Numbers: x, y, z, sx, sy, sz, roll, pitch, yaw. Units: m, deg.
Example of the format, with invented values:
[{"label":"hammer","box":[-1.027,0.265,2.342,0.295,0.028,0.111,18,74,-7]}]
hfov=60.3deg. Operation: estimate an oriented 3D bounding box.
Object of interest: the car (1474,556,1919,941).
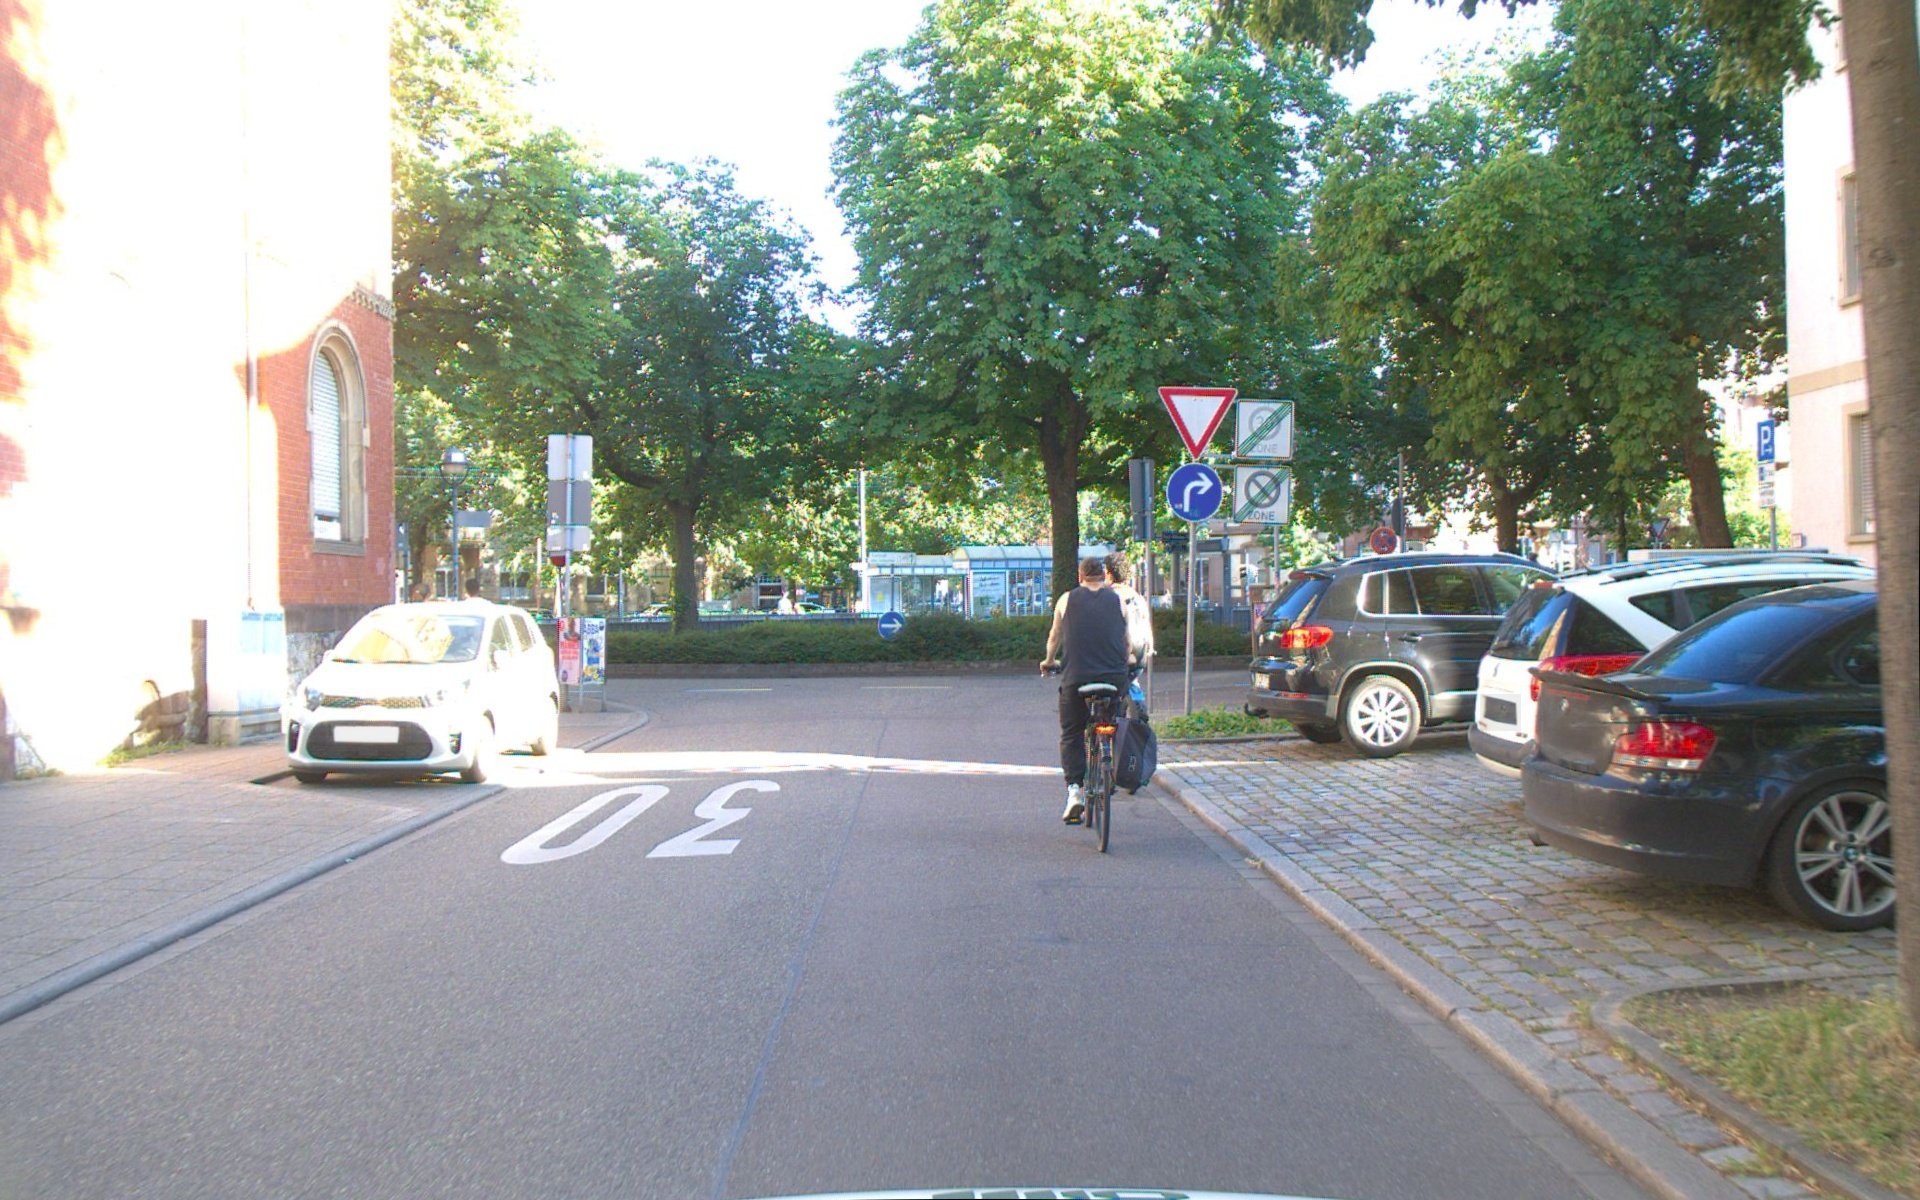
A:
[{"label":"car","box":[4.669,0.511,7.542,4.022,1.436,1.792,-4,0,-1]}]

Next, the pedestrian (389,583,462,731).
[{"label":"pedestrian","box":[-6.090,0.636,18.877,0.588,1.633,0.854,-1,0,-5]}]

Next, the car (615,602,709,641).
[{"label":"car","box":[-13.720,0.988,76.291,1.922,1.709,3.920,-1,0,45]}]

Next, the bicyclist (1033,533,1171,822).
[{"label":"bicyclist","box":[0.868,0.462,10.329,0.737,1.711,0.913,-1,0,-1]}]

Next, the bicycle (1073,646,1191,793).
[{"label":"bicycle","box":[1.340,0.910,13.252,0.660,1.072,2.060,-1,-1,-2]}]

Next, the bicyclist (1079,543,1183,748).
[{"label":"bicyclist","box":[1.335,0.354,13.072,0.658,1.541,1.068,-1,-1,-2]}]

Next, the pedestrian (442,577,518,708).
[{"label":"pedestrian","box":[-6.311,0.544,21.777,0.851,1.672,0.858,-1,0,-11]}]

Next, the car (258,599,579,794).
[{"label":"car","box":[-4.709,0.762,14.946,1.670,1.511,3.796,1,0,-1]}]

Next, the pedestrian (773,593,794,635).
[{"label":"pedestrian","box":[-7.333,0.575,68.856,0.692,1.724,0.666,1,0,-23]}]

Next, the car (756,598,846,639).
[{"label":"car","box":[-7.738,0.897,80.572,3.939,1.903,1.983,-1,0,-27]}]

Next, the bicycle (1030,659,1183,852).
[{"label":"bicycle","box":[0.875,0.919,10.404,0.723,1.030,2.060,1,-1,-1]}]

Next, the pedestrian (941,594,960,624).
[{"label":"pedestrian","box":[-0.546,0.513,93.930,0.980,1.659,1.064,-1,0,-2]}]

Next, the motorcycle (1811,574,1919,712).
[{"label":"motorcycle","box":[9.502,0.399,16.190,0.957,1.302,2.177,-1,0,-9]}]

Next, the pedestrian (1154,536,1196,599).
[{"label":"pedestrian","box":[6.020,-0.904,46.369,0.880,1.713,0.817,-1,0,33]}]

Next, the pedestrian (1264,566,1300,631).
[{"label":"pedestrian","box":[8.688,-0.044,44.678,0.896,1.713,0.781,-1,0,9]}]

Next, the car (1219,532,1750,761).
[{"label":"car","box":[4.565,0.361,14.792,4.027,1.742,2.022,-2,1,-6]}]

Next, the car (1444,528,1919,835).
[{"label":"car","box":[5.000,0.444,10.063,3.616,1.680,1.704,-1,0,2]}]

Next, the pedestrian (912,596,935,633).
[{"label":"pedestrian","box":[-1.579,0.617,71.541,0.795,1.570,0.818,1,0,-12]}]
